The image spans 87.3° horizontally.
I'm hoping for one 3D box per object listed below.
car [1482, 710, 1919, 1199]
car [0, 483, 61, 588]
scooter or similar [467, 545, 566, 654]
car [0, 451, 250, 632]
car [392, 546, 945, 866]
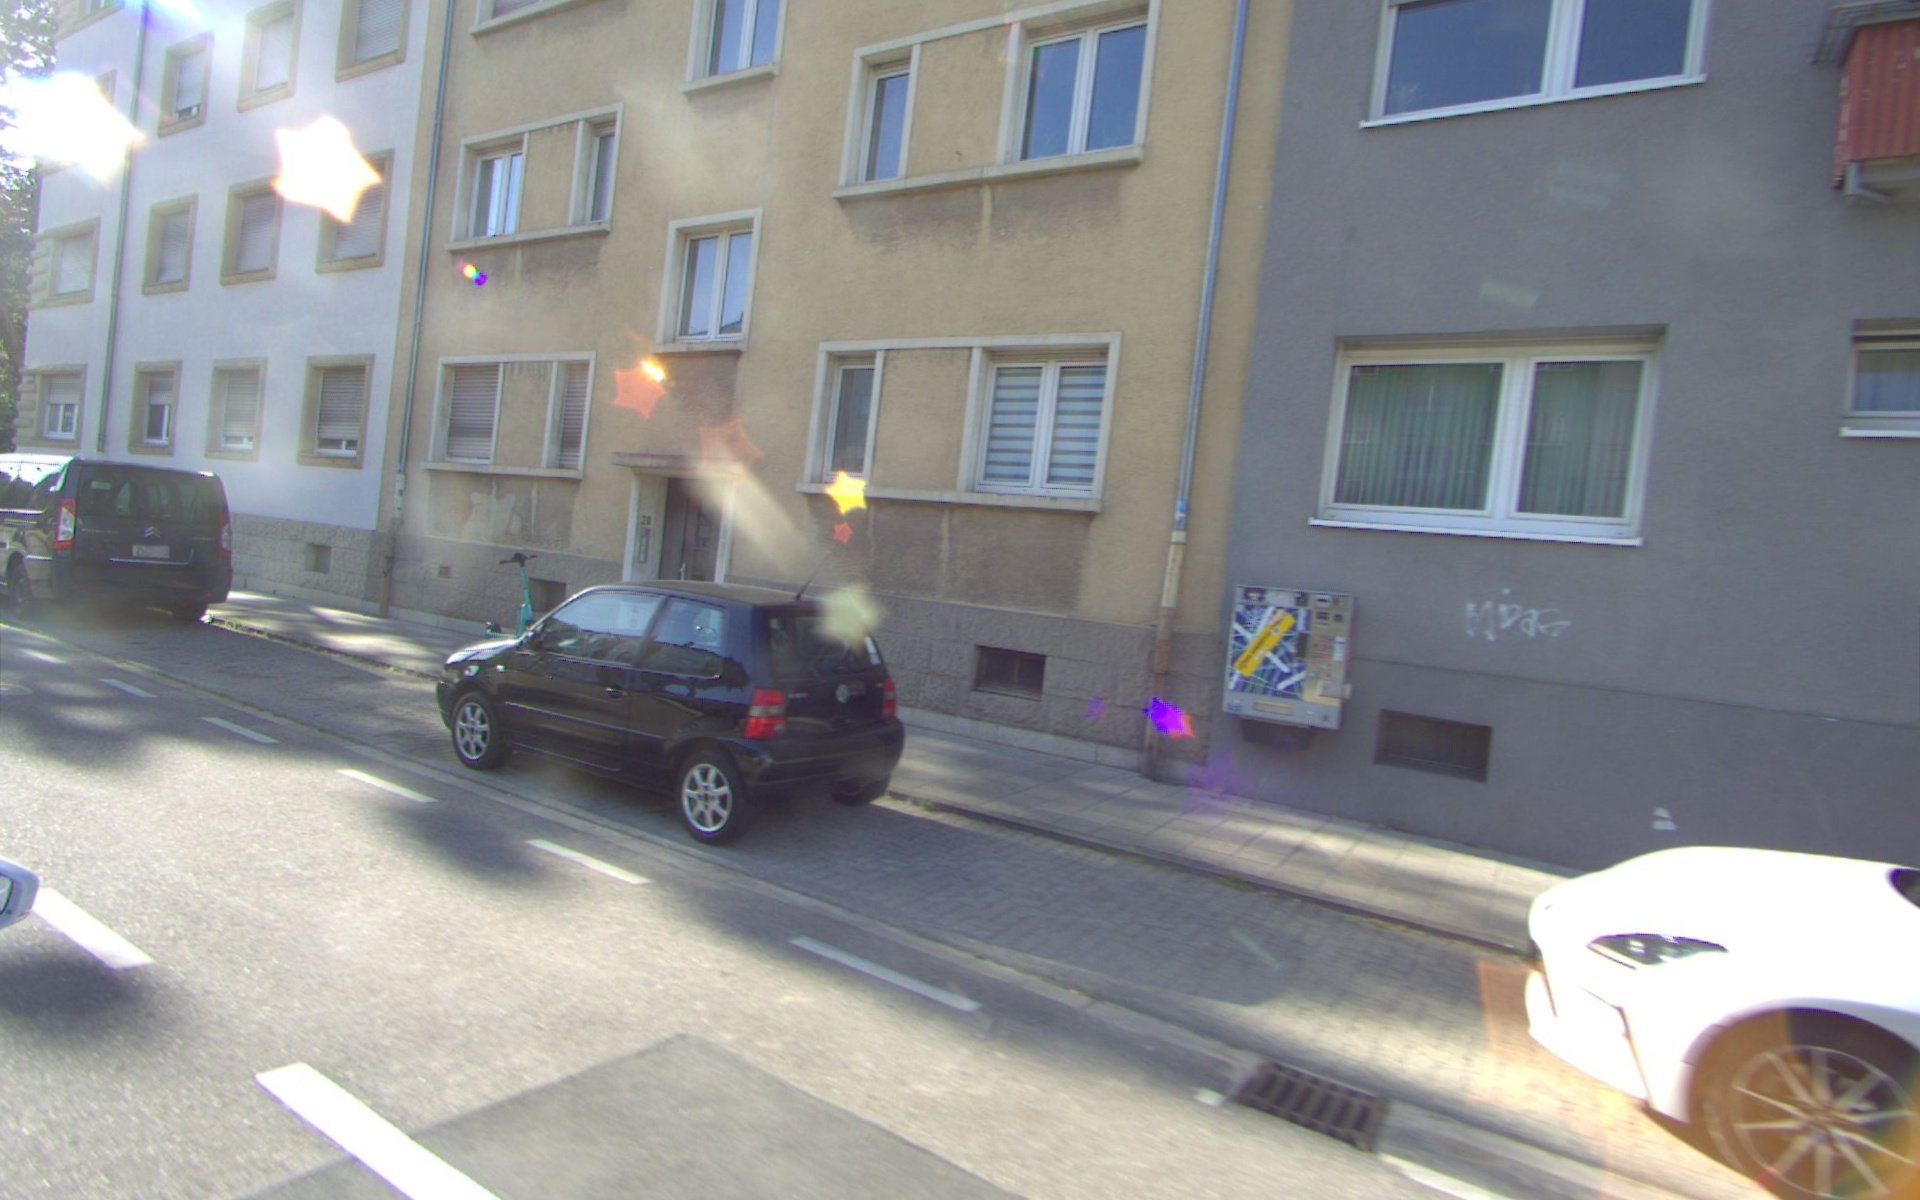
[{"bbox_3d":[4.179,1.407,3.247,4.231,1.293,1.701,7,4,31],"label":"car"},{"bbox_3d":[-15.892,-1.169,15.661,4.165,1.497,1.512,7,2,29],"label":"car"},{"bbox_3d":[-5.694,-0.020,12.903,1.316,1.256,0.458,7,5,32],"label":"scooter or similar"},{"bbox_3d":[-11.539,-0.852,13.052,5.049,1.926,1.912,7,4,31],"label":"car"},{"bbox_3d":[-2.165,0.552,7.151,3.726,1.473,1.635,7,3,32],"label":"car"}]
